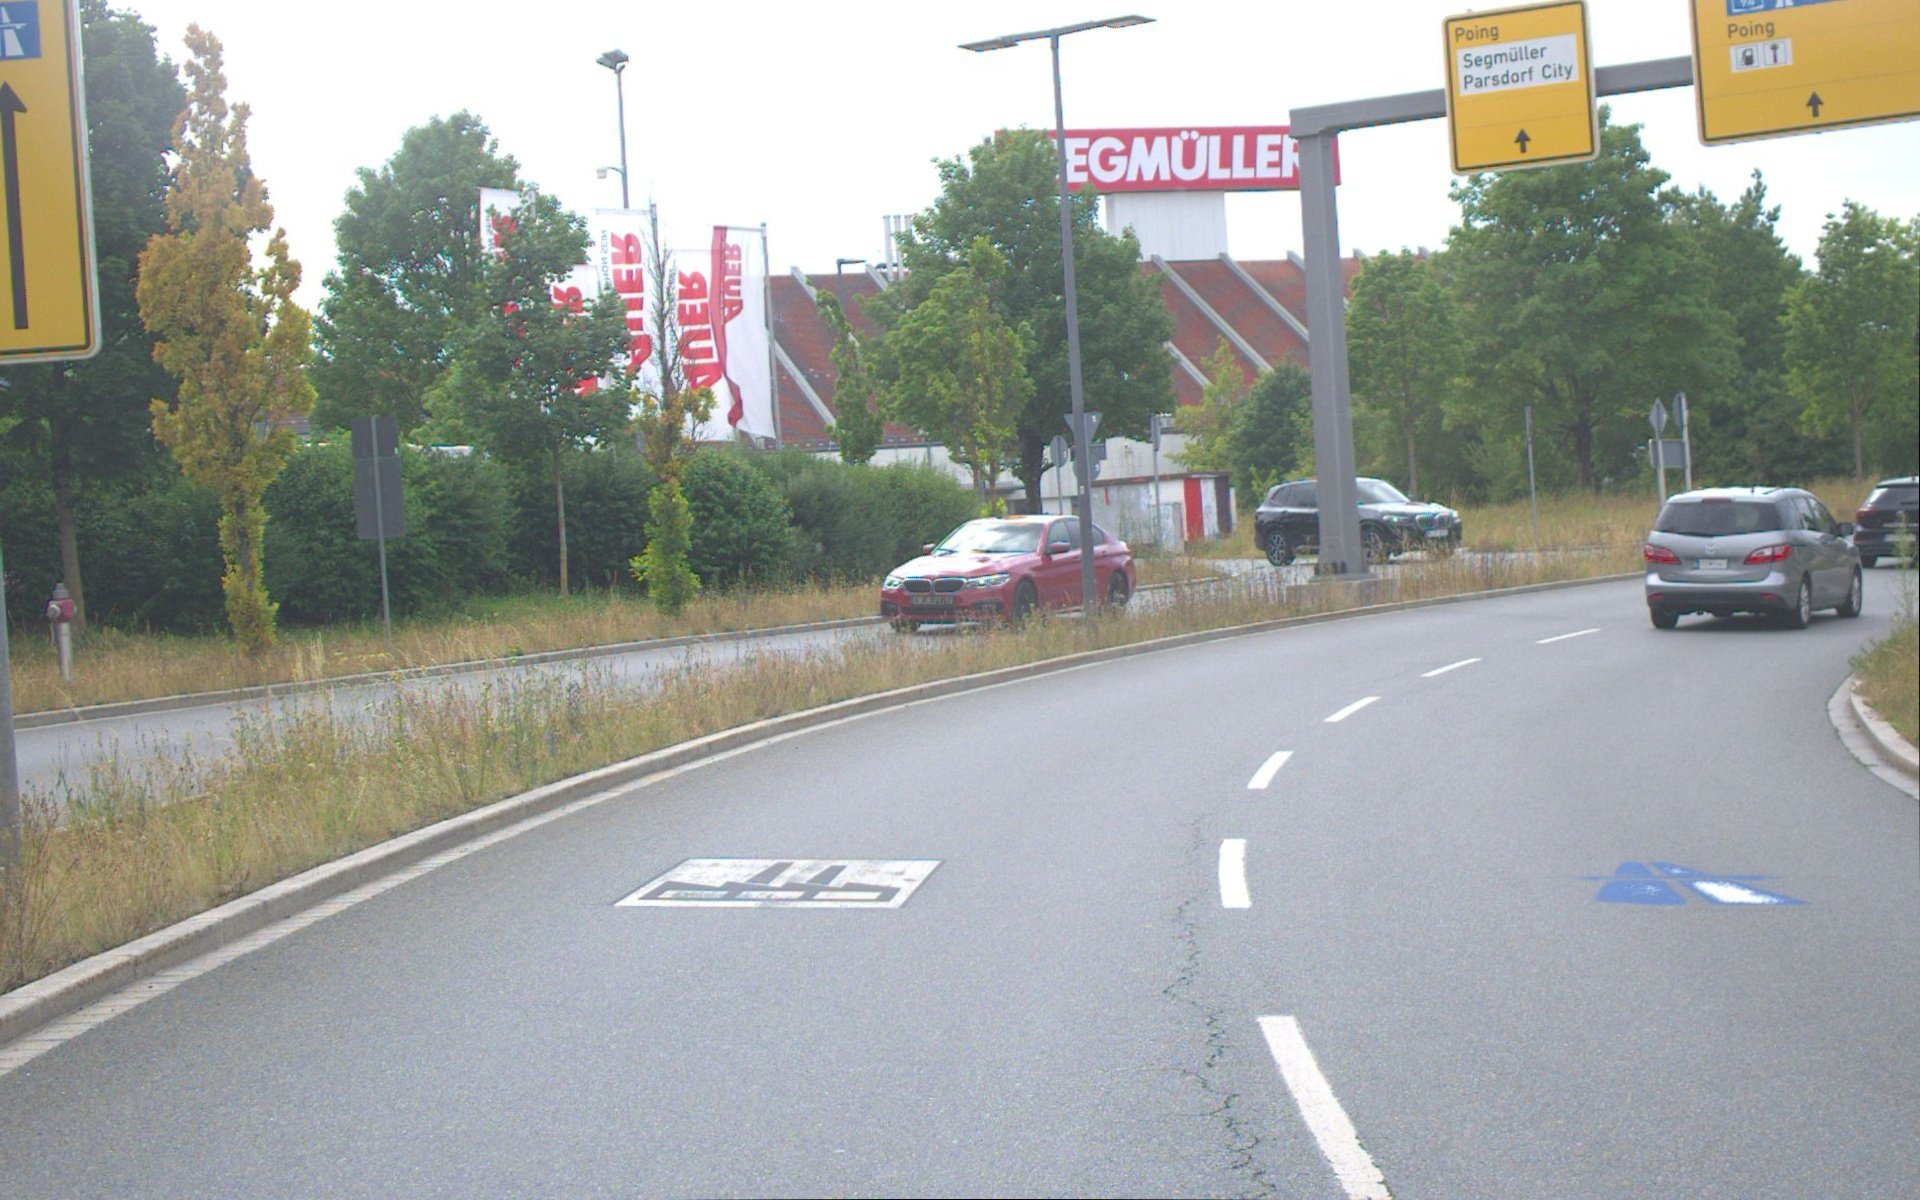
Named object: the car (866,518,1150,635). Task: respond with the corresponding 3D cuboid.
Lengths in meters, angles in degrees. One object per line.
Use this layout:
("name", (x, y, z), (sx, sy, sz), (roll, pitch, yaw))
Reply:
("car", (0.705, -0.357, 45.292), (1.794, 1.442, 4.965), (1, 2, 26))

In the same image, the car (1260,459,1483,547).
("car", (7.904, -1.851, 66.355), (1.868, 1.544, 4.255), (-3, 2, -35))

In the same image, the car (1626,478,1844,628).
("car", (9.064, -0.562, 40.006), (1.769, 1.611, 3.917), (-2, 1, 23))

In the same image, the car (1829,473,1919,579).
("car", (15.604, -1.214, 55.041), (1.873, 1.600, 3.727), (-1, 1, 38))
